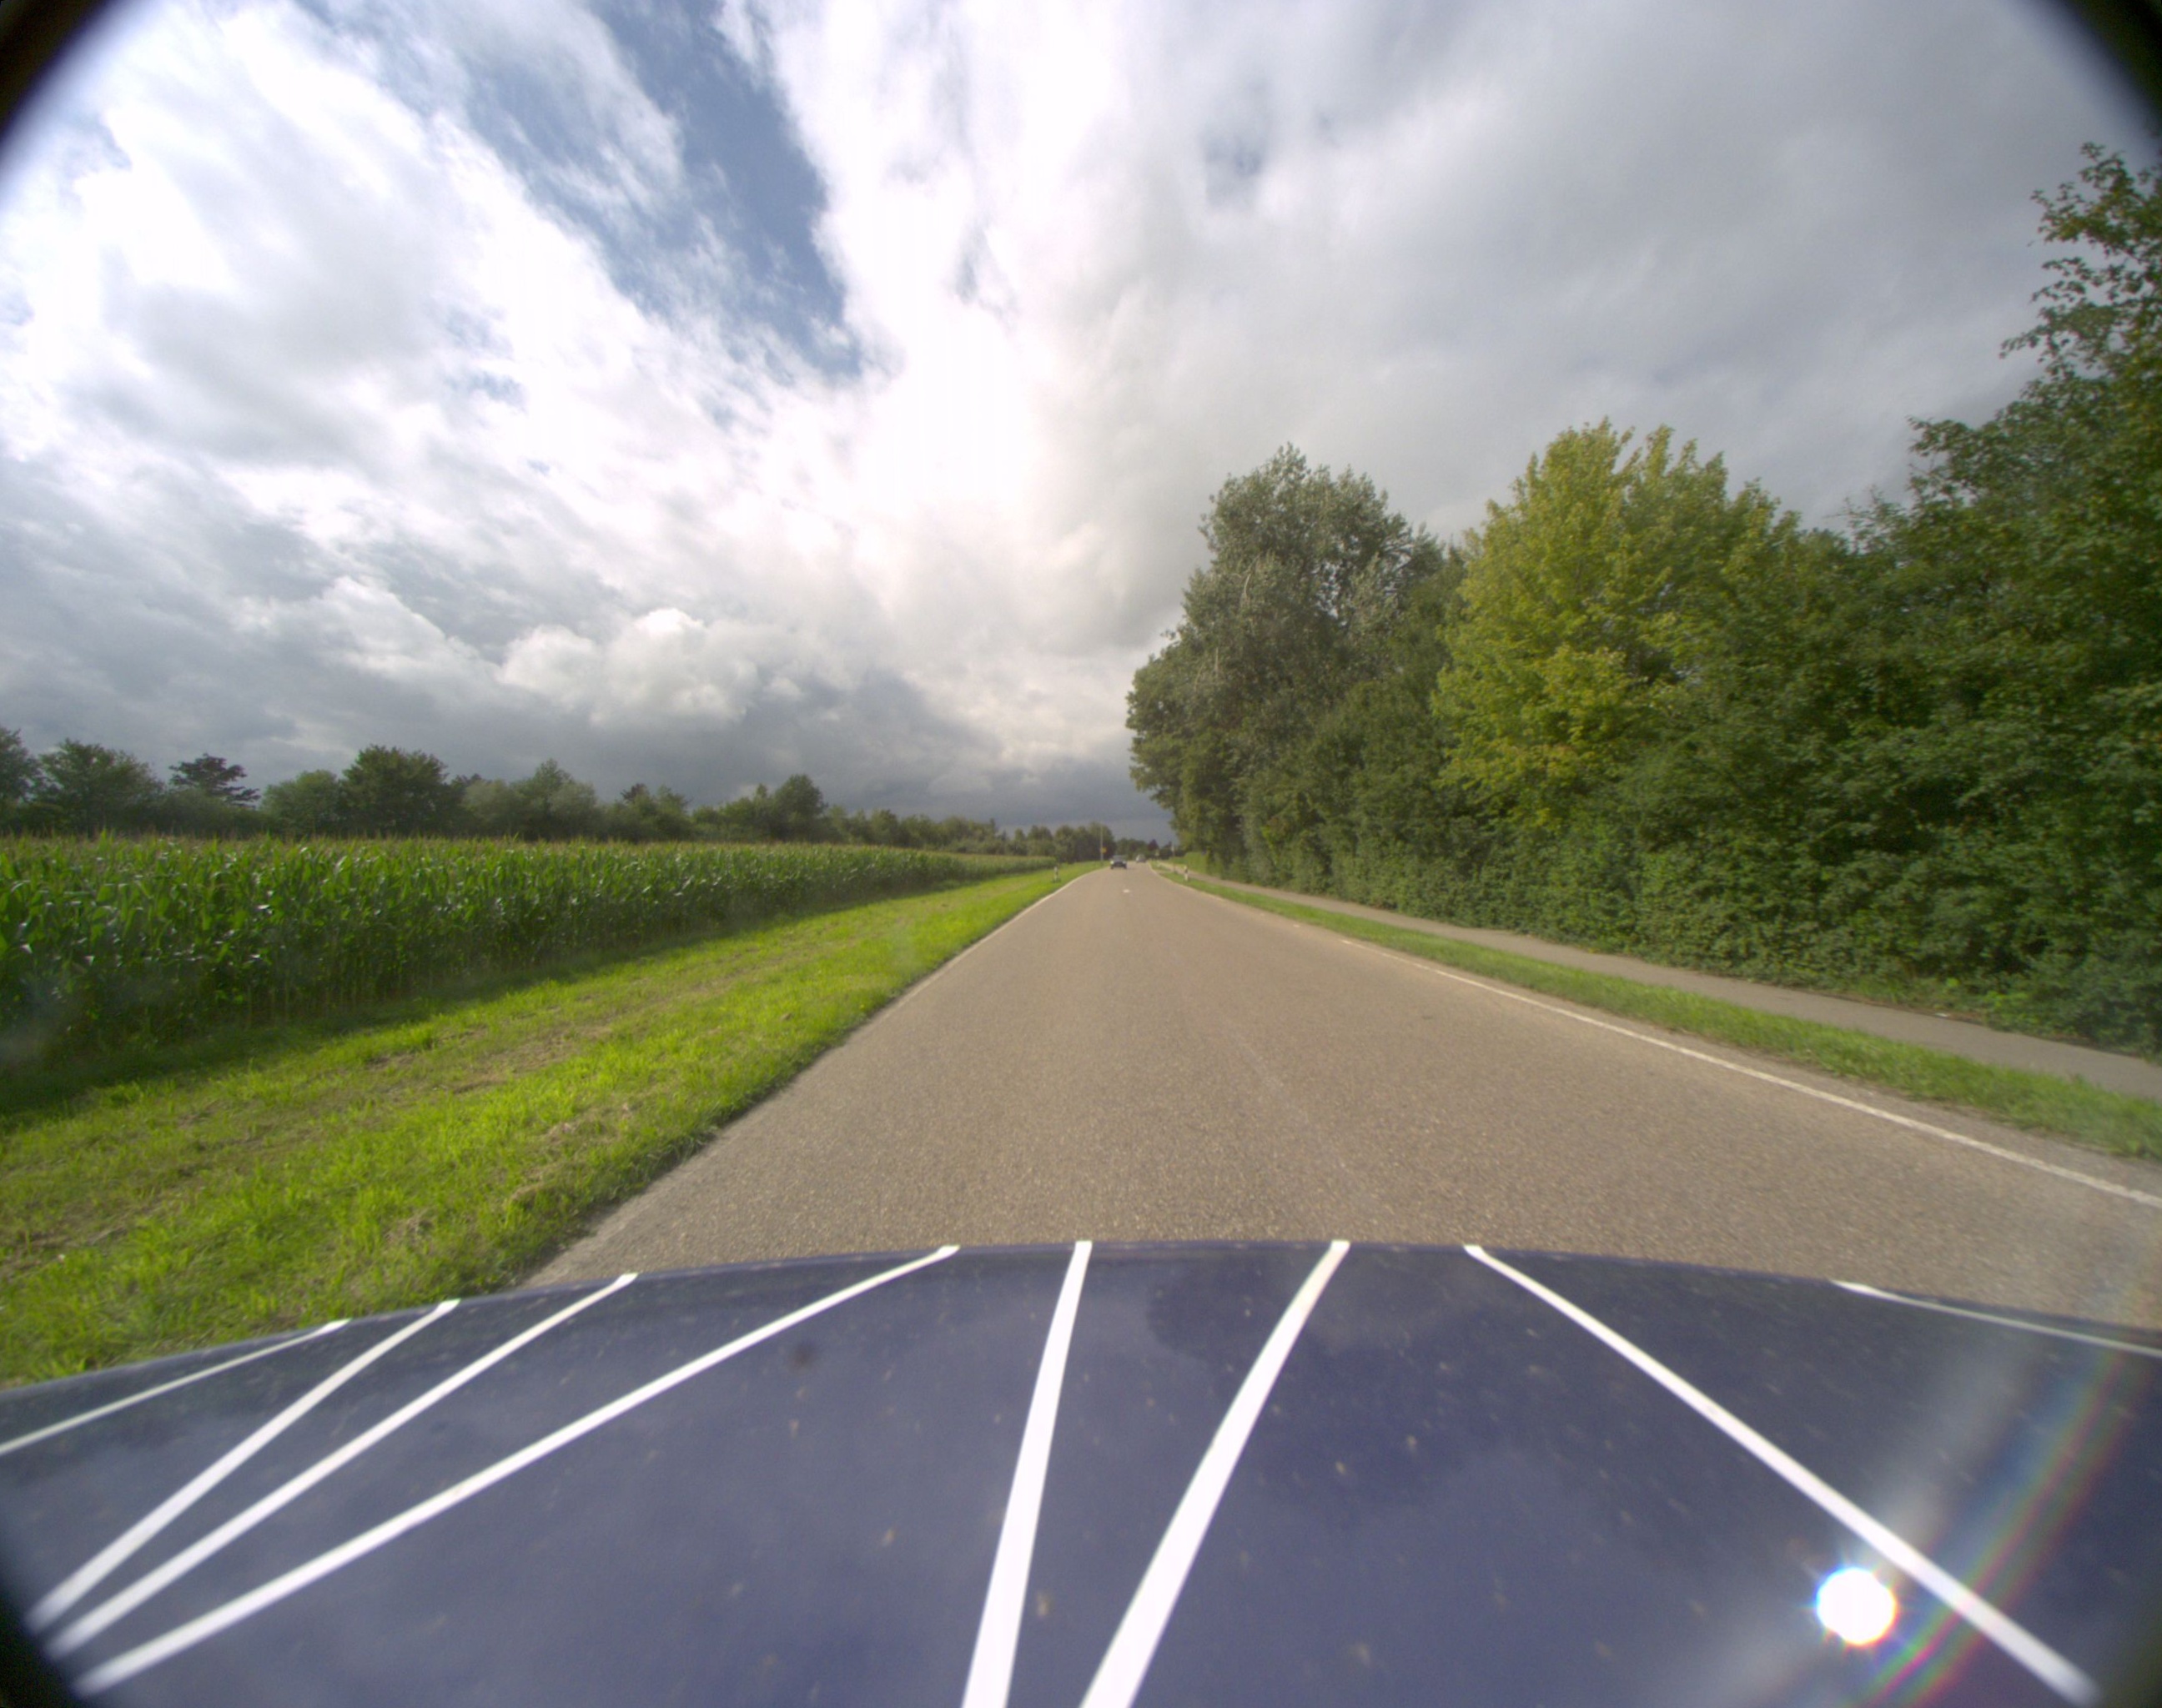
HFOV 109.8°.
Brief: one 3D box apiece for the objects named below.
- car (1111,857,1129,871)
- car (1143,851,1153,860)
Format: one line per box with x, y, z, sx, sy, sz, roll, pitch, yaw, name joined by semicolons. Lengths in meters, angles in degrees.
4.735;1.226;91.550;1.998;1.594;4.001;-1;0;5;car
13.757;0.303;156.308;1.815;1.641;4.293;1;0;5;car
